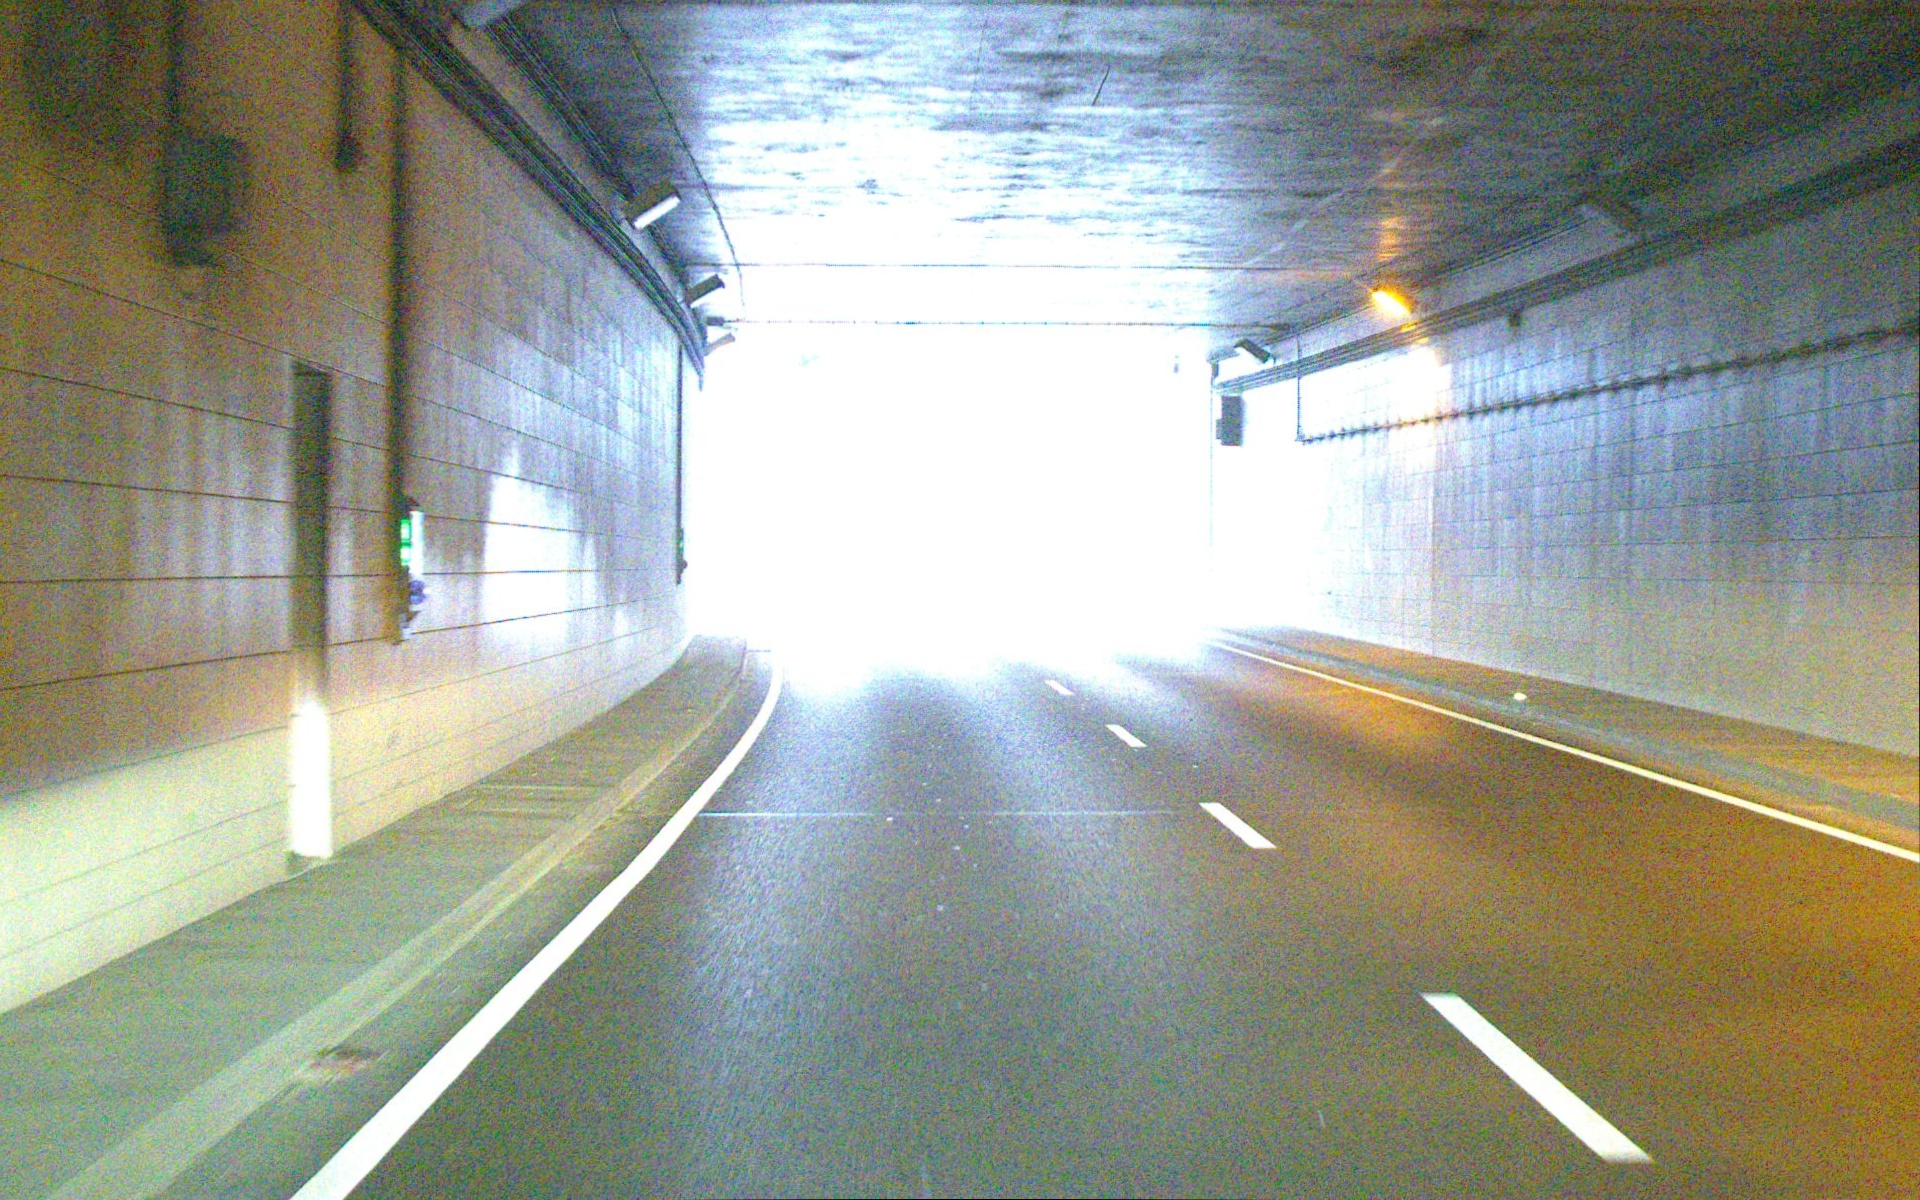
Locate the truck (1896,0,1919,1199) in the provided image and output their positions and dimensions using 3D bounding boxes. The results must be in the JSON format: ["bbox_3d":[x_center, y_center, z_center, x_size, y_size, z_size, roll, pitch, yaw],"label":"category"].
[{"bbox_3d":[3.397,-0.488,1.735,2.888,3.900,9.910,0,1,-1],"label":"truck"}]
